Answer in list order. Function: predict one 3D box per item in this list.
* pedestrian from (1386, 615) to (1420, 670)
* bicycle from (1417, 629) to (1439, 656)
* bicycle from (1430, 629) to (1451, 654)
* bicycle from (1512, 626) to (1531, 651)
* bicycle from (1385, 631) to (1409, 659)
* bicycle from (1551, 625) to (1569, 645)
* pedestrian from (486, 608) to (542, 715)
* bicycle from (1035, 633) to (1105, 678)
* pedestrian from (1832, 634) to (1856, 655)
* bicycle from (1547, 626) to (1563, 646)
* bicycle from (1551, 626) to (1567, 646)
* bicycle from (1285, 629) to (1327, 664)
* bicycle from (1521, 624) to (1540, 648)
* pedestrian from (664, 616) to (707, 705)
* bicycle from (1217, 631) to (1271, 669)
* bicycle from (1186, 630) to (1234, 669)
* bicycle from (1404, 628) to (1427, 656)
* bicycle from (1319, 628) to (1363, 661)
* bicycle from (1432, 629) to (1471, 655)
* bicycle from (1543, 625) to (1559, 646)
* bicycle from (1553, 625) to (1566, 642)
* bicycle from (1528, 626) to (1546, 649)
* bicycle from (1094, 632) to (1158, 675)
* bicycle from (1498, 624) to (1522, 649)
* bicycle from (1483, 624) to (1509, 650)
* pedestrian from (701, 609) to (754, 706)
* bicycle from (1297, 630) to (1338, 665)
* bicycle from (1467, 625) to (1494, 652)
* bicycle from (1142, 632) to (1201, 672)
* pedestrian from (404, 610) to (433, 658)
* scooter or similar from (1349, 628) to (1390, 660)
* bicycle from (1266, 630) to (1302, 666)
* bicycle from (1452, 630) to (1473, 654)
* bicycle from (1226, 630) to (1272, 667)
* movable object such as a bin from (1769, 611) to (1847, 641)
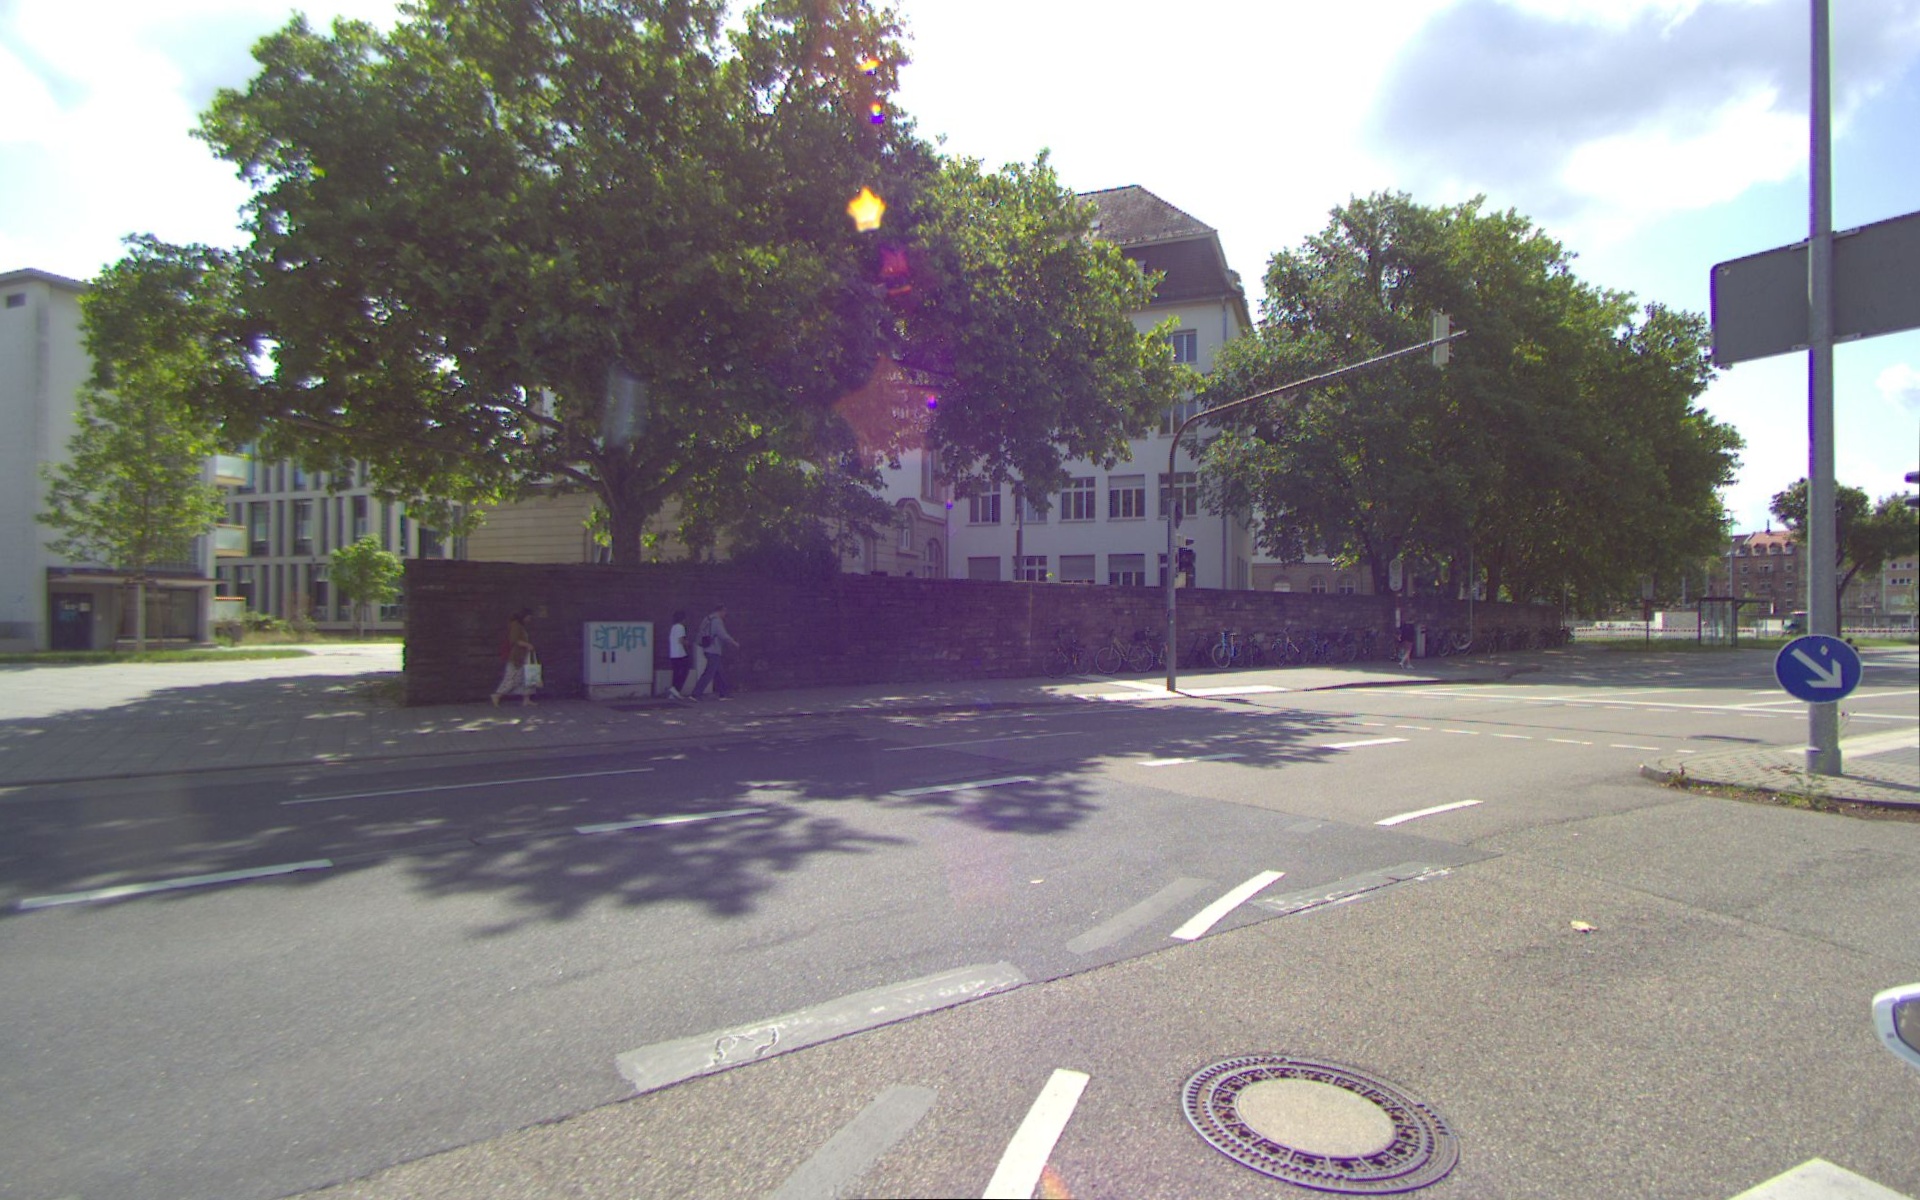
[{"bbox_3d":[13.495,1.280,30.611,0.738,1.631,0.651,1,0,-39],"label":"pedestrian"},{"bbox_3d":[17.810,1.613,38.221,0.362,0.968,1.394,0,-1,43],"label":"bicycle"},{"bbox_3d":[18.794,1.623,39.282,0.362,0.968,1.394,0,-1,43],"label":"bicycle"},{"bbox_3d":[26.105,1.776,46.679,0.575,1.087,1.749,0,-1,37],"label":"bicycle"},{"bbox_3d":[15.687,1.598,36.036,0.362,0.968,1.394,0,-1,43],"label":"bicycle"},{"bbox_3d":[34.731,2.024,58.099,0.575,1.087,1.860,0,-1,41],"label":"bicycle"},{"bbox_3d":[-7.179,0.965,16.161,0.720,1.673,0.556,1,-1,-37],"label":"pedestrian"},{"bbox_3d":[2.720,1.346,24.735,1.866,1.062,0.624,1,-1,-41],"label":"bicycle"},{"bbox_3d":[41.876,2.116,47.594,0.735,0.976,0.690,1,0,-33],"label":"pedestrian"},{"bbox_3d":[32.725,1.968,55.218,0.575,1.087,1.625,0,-1,37],"label":"bicycle"},{"bbox_3d":[33.728,2.006,56.542,0.575,1.087,1.625,0,-1,37],"label":"bicycle"},{"bbox_3d":[11.115,1.477,32.225,1.866,1.062,0.390,1,-1,-41],"label":"bicycle"},{"bbox_3d":[27.330,1.713,48.105,0.575,1.087,1.749,0,-1,37],"label":"bicycle"},{"bbox_3d":[-4.932,1.066,18.040,0.611,1.560,0.472,1,-1,-37],"label":"pedestrian"},{"bbox_3d":[8.206,1.423,28.949,1.866,1.062,0.586,1,-1,-41],"label":"bicycle"},{"bbox_3d":[7.191,1.406,28.838,1.866,1.062,0.367,1,-1,-41],"label":"bicycle"},{"bbox_3d":[16.838,1.544,37.127,0.362,0.968,1.394,0,-1,43],"label":"bicycle"},{"bbox_3d":[12.724,1.485,33.487,1.866,1.062,0.575,1,-1,-41],"label":"bicycle"},{"bbox_3d":[18.713,1.604,38.222,1.601,0.968,0.365,1,-1,-23],"label":"bicycle"},{"bbox_3d":[31.665,1.906,53.831,0.575,1.087,1.625,0,-1,37],"label":"bicycle"},{"bbox_3d":[35.719,1.984,59.835,0.465,1.024,1.956,0,-1,37],"label":"bicycle"},{"bbox_3d":[28.592,1.858,49.742,0.575,1.087,1.749,0,-1,37],"label":"bicycle"},{"bbox_3d":[4.327,1.376,26.130,1.866,1.062,0.624,1,-1,-41],"label":"bicycle"},{"bbox_3d":[24.773,1.648,45.255,0.575,1.087,1.746,0,-1,41],"label":"bicycle"},{"bbox_3d":[23.384,1.590,43.811,0.576,1.087,1.746,0,-1,43],"label":"bicycle"},{"bbox_3d":[-4.146,1.008,17.907,0.724,1.673,0.636,1,-1,-37],"label":"pedestrian"},{"bbox_3d":[11.375,1.504,31.930,1.866,1.062,0.369,1,-1,-41],"label":"bicycle"},{"bbox_3d":[21.900,1.600,42.215,0.576,1.087,1.746,0,-1,43],"label":"bicycle"},{"bbox_3d":[5.787,1.405,27.430,1.866,1.062,0.559,1,-1,-41],"label":"bicycle"},{"bbox_3d":[-23.251,1.469,43.161,0.673,2.040,0.869,0,-1,15],"label":"pedestrian"},{"bbox_3d":[14.193,1.523,34.791,1.866,1.062,0.575,1,-1,-41],"label":"scooter or similar"},{"bbox_3d":[9.915,1.456,30.702,0.583,1.062,1.876,0,-1,33],"label":"bicycle"},{"bbox_3d":[20.484,1.695,40.940,0.366,0.968,1.618,0,-1,43],"label":"bicycle"},{"bbox_3d":[8.667,1.434,30.084,1.866,1.062,0.367,1,-1,-41],"label":"bicycle"},{"bbox_3d":[84.024,2.593,99.599,5.430,2.923,2.289,0,-1,13],"label":"movable object such as a bin"}]
